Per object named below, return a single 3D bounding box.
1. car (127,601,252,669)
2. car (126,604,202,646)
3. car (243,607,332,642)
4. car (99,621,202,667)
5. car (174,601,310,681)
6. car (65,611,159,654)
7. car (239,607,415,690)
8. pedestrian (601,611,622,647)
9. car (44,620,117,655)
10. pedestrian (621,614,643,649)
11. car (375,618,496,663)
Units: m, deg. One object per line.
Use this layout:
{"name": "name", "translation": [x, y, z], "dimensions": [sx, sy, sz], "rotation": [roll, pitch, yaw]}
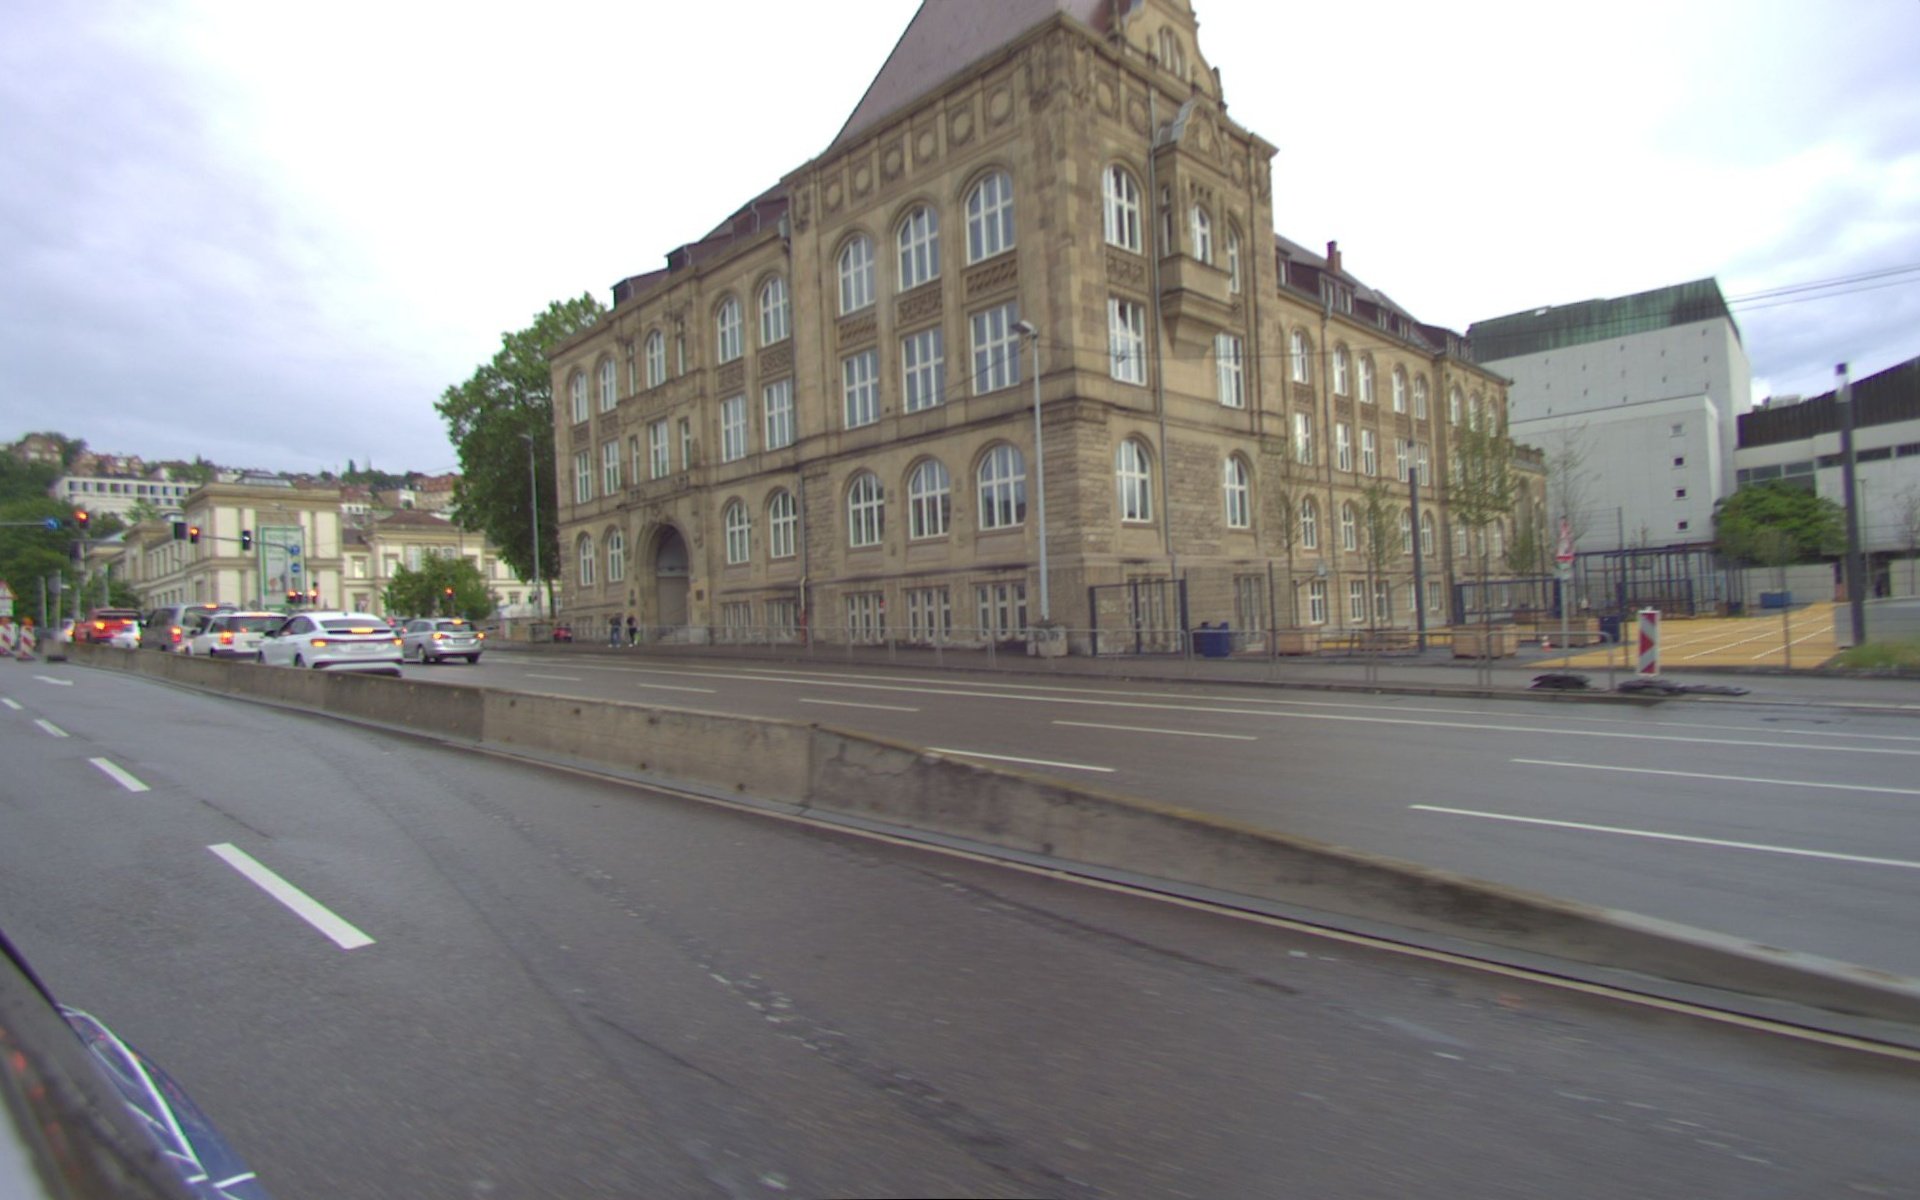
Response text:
{"name": "car", "translation": [-23.507, 1.030, 30.783], "dimensions": [5.593, 1.880, 1.972], "rotation": [-1, -2, 42]}
{"name": "car", "translation": [-36.479, 1.143, 46.356], "dimensions": [4.614, 1.808, 1.972], "rotation": [-1, -2, 42]}
{"name": "car", "translation": [-28.600, 1.030, 42.997], "dimensions": [4.208, 1.393, 1.974], "rotation": [-1, -2, 39]}
{"name": "car", "translation": [-28.679, 1.510, 35.812], "dimensions": [4.819, 1.513, 1.973], "rotation": [-1, -2, 41]}
{"name": "car", "translation": [-18.596, 1.020, 26.142], "dimensions": [4.377, 1.880, 1.889], "rotation": [-1, -2, 42]}
{"name": "car", "translation": [-33.397, 1.236, 39.801], "dimensions": [5.378, 1.579, 1.973], "rotation": [-1, -2, 40]}
{"name": "car", "translation": [-13.602, 0.974, 21.608], "dimensions": [4.896, 1.579, 1.874], "rotation": [-1, -2, 42]}
{"name": "pedestrian", "translation": [-15.695, 1.304, 45.537], "dimensions": [0.735, 1.596, 0.609], "rotation": [-1, -2, 43]}
{"name": "car", "translation": [-40.121, 1.678, 46.124], "dimensions": [4.560, 1.482, 1.972], "rotation": [-1, -2, 42]}
{"name": "pedestrian", "translation": [-14.927, 1.438, 46.084], "dimensions": [0.733, 1.596, 0.611], "rotation": [-1, -2, 36]}
{"name": "car", "translation": [-17.386, 1.295, 33.499], "dimensions": [4.206, 1.393, 1.975], "rotation": [-1, -2, 38]}
